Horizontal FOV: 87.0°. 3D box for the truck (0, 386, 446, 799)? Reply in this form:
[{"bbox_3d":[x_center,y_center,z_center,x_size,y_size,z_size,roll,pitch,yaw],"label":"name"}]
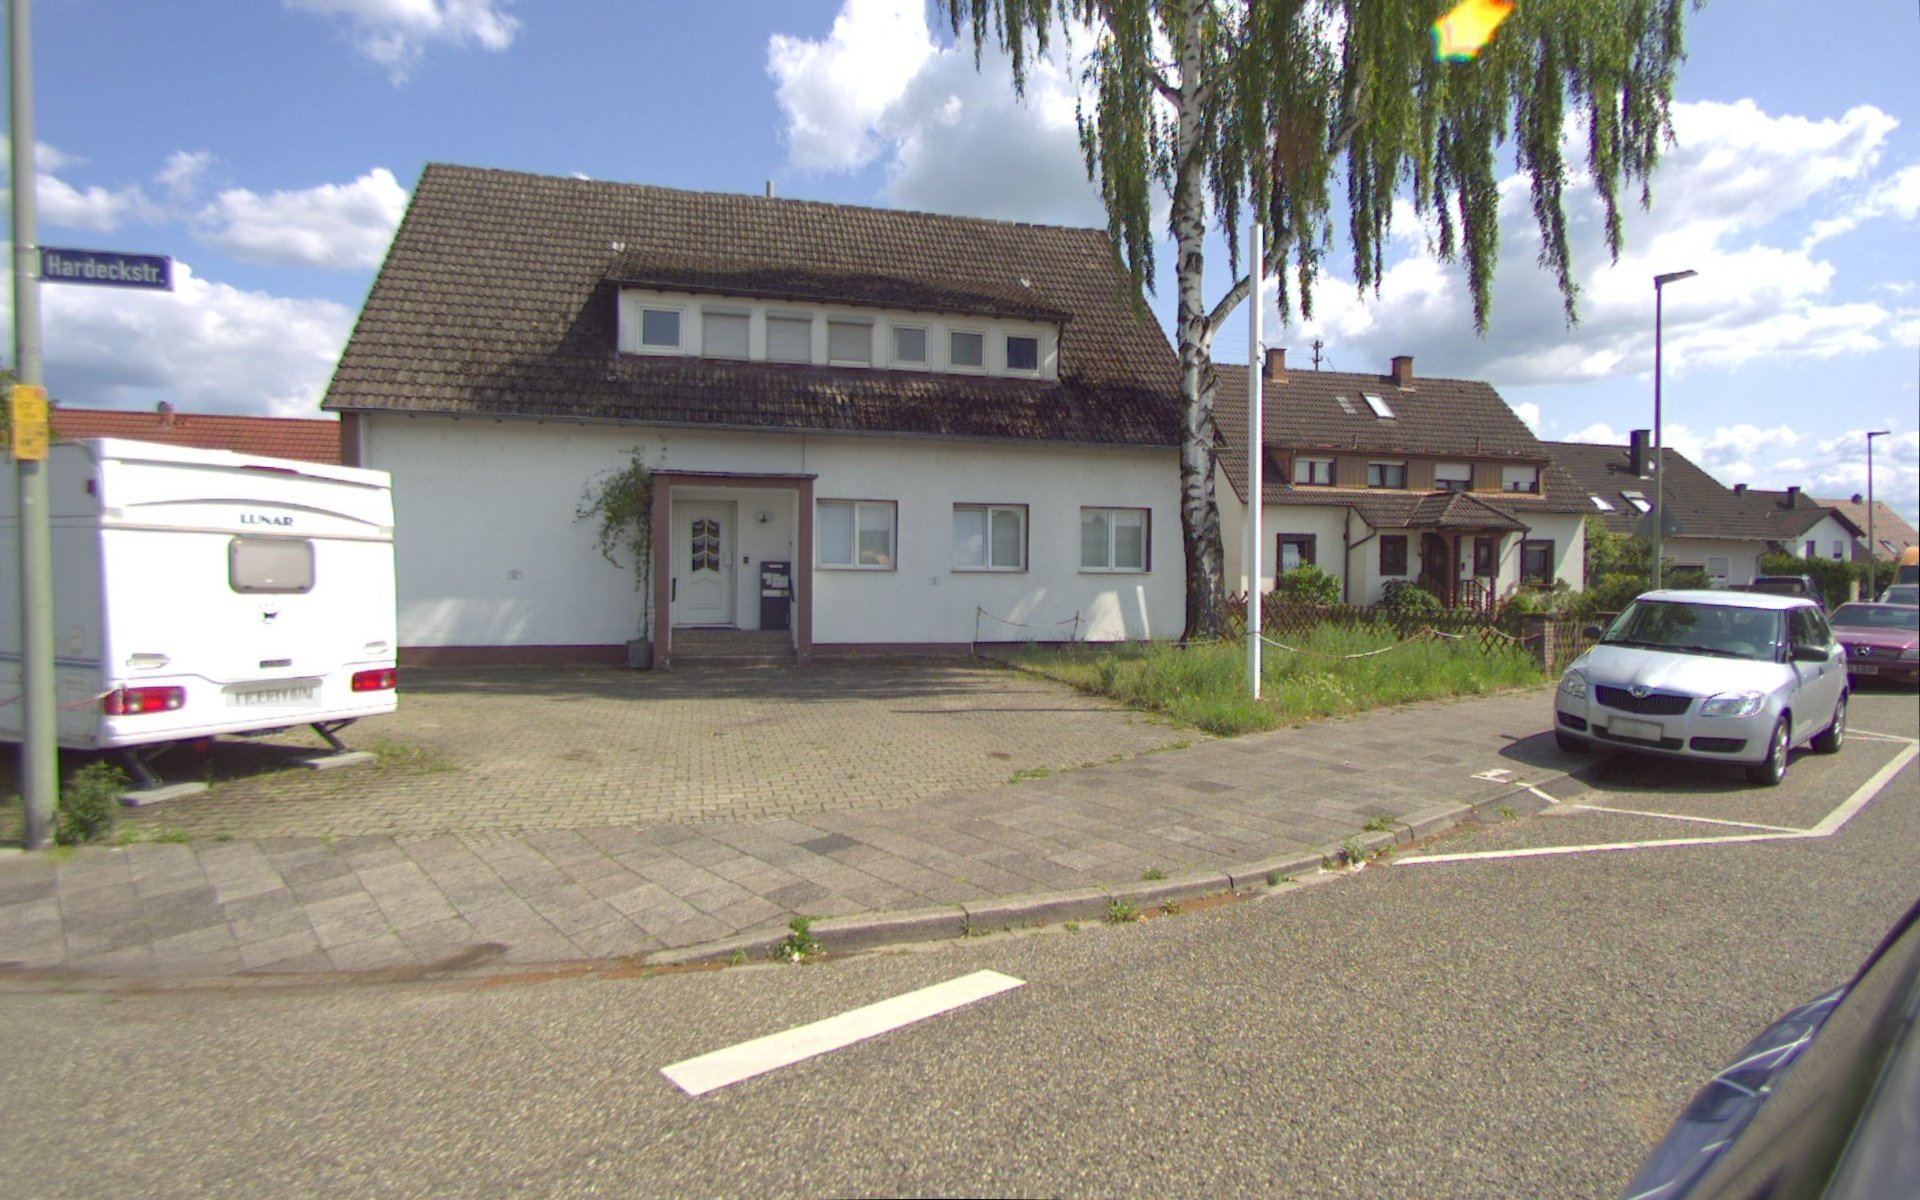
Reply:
[{"bbox_3d":[-7.688,-0.056,8.790,5.991,2.610,2.546,0,0,24],"label":"truck"}]

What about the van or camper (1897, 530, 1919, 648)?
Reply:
[{"bbox_3d":[24.528,-0.283,24.739,5.673,2.697,1.996,-1,1,-43],"label":"van or camper"}]

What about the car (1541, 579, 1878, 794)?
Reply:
[{"bbox_3d":[7.107,0.632,9.459,3.929,1.601,1.614,-1,0,-40],"label":"car"}]

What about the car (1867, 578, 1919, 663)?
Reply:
[{"bbox_3d":[20.417,0.377,21.049,4.166,1.660,1.835,-1,1,-41],"label":"car"}]

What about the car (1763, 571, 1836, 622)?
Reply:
[{"bbox_3d":[33.081,-0.189,39.824,1.857,1.889,4.941,1,1,44],"label":"car"}]

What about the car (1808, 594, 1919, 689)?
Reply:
[{"bbox_3d":[15.431,0.599,16.636,4.361,1.351,1.672,-1,1,-41],"label":"car"}]
